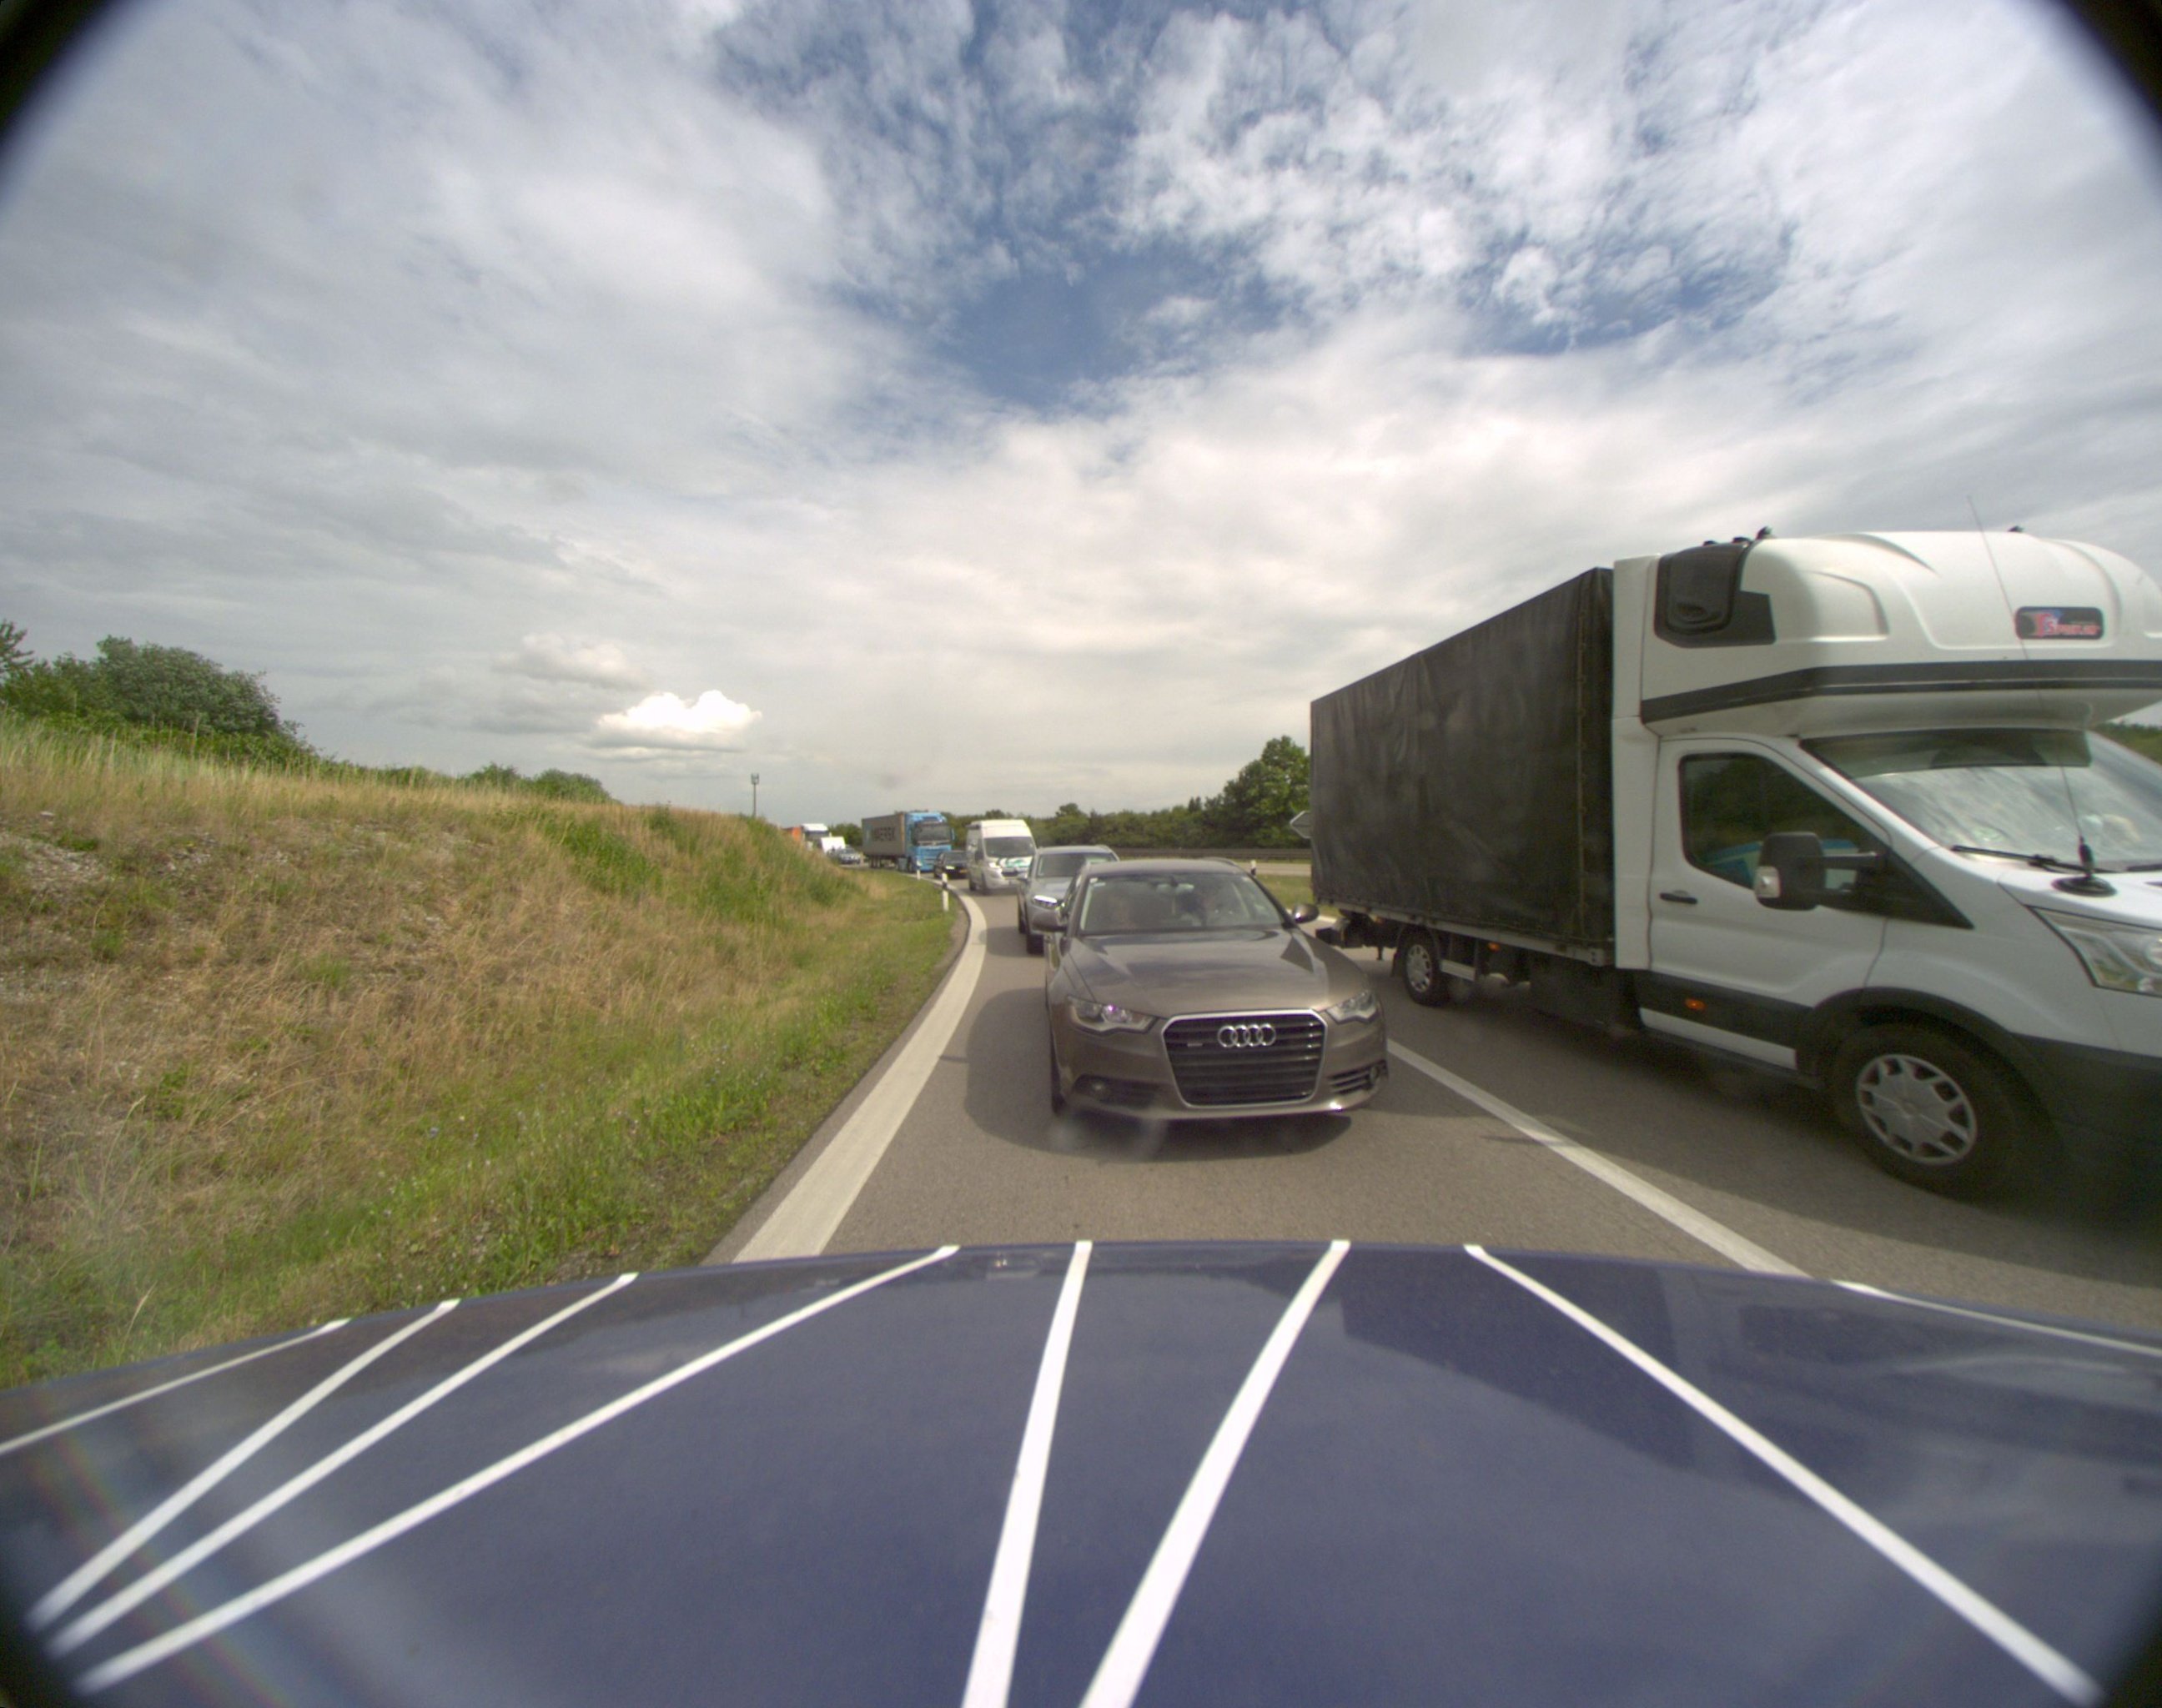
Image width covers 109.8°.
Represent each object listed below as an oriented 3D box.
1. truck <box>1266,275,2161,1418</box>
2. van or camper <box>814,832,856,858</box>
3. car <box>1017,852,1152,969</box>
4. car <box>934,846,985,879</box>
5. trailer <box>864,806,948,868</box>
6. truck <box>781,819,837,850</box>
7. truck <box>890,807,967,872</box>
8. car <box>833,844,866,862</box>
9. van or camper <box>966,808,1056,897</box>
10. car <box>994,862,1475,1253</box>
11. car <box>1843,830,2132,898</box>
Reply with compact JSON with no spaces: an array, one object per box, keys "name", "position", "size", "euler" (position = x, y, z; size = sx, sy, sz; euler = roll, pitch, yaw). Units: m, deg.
[{"name":"truck","position":[3.926,-0.064,5.643],"size":[2.568,3.149,7.463],"euler":[-2,1,-5]},{"name":"van or camper","position":[-24.174,-0.941,74.467],"size":[2.557,2.200,5.693],"euler":[-3,5,-31]},{"name":"car","position":[-0.113,0.788,12.888],"size":[1.843,1.587,4.171],"euler":[-1,1,-6]},{"name":"car","position":[-6.506,0.401,40.512],"size":[2.002,1.609,3.992],"euler":[-1,1,-19]},{"name":"trailer","position":[-13.480,-1.130,57.347],"size":[3.280,4.137,11.991],"euler":[-3,1,-27]},{"name":"truck","position":[-30.495,-2.095,84.846],"size":[3.131,3.220,11.131],"euler":[-2,1,-34]},{"name":"truck","position":[-10.378,-0.934,51.177],"size":[3.184,4.049,6.632],"euler":[-3,1,-27]},{"name":"car","position":[-21.083,-0.127,69.126],"size":[2.003,1.521,3.990],"euler":[-2,2,-29]},{"name":"van or camper","position":[-2.743,-0.080,28.148],"size":[2.400,2.892,5.713],"euler":[-2,1,-14]},{"name":"car","position":[0.637,0.884,5.477],"size":[1.999,1.505,4.537],"euler":[-2,1,-1]},{"name":"car","position":[24.441,0.187,20.728],"size":[2.003,1.593,4.796],"euler":[-2,2,-32]}]
